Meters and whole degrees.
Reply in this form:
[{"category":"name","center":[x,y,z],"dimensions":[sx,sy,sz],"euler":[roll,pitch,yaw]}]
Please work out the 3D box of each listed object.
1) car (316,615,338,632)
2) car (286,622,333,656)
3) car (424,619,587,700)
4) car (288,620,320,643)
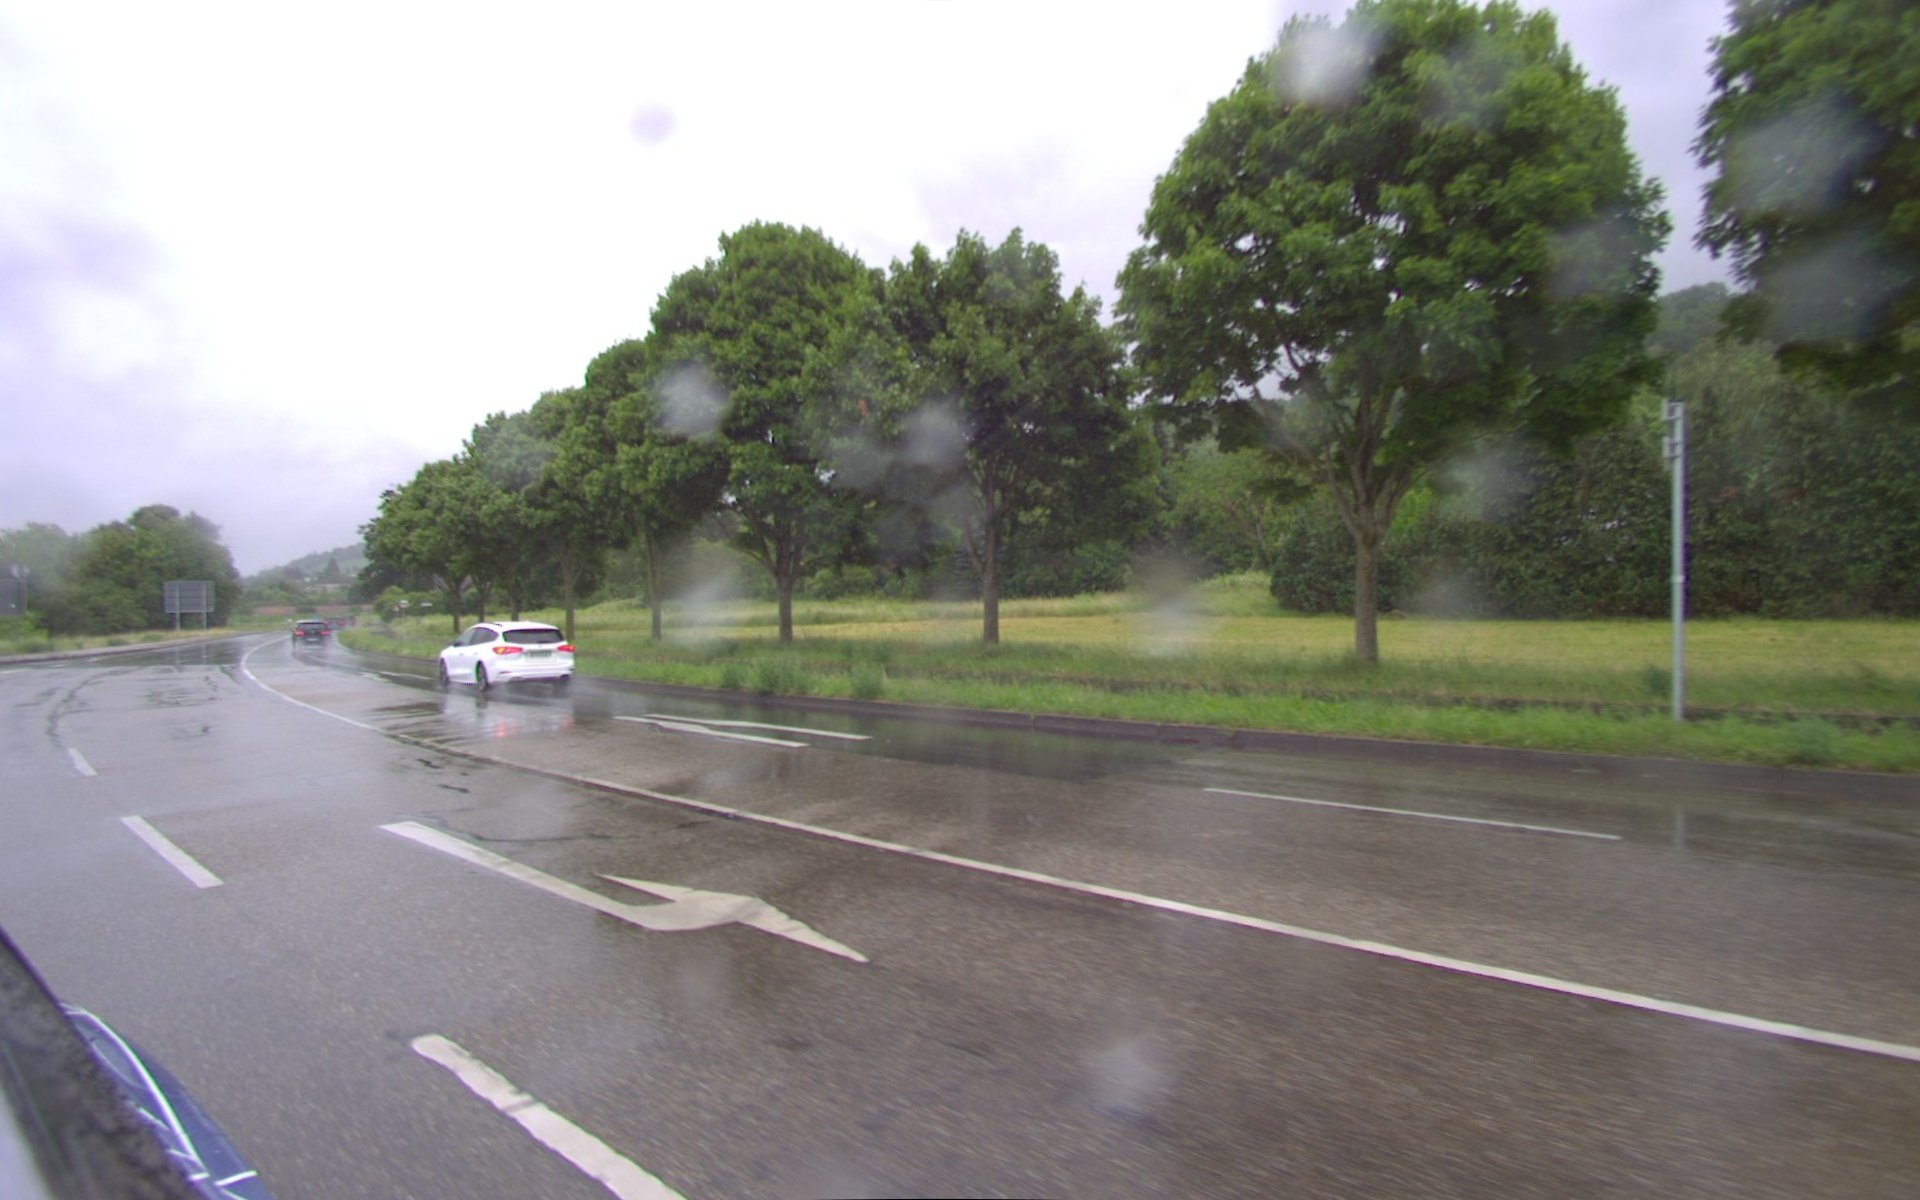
[{"category":"car","center":[-69.896,2.590,111.730],"dimensions":[1.898,1.756,4.300],"euler":[1,-1,-34]},{"category":"car","center":[-35.250,2.076,54.803],"dimensions":[1.860,1.599,4.128],"euler":[-3,1,-36]},{"category":"car","center":[-10.094,1.217,22.284],"dimensions":[1.856,1.585,4.649],"euler":[1,-2,-43]},{"category":"car","center":[-44.582,2.134,68.786],"dimensions":[1.715,1.498,4.022],"euler":[1,-1,-32]}]
